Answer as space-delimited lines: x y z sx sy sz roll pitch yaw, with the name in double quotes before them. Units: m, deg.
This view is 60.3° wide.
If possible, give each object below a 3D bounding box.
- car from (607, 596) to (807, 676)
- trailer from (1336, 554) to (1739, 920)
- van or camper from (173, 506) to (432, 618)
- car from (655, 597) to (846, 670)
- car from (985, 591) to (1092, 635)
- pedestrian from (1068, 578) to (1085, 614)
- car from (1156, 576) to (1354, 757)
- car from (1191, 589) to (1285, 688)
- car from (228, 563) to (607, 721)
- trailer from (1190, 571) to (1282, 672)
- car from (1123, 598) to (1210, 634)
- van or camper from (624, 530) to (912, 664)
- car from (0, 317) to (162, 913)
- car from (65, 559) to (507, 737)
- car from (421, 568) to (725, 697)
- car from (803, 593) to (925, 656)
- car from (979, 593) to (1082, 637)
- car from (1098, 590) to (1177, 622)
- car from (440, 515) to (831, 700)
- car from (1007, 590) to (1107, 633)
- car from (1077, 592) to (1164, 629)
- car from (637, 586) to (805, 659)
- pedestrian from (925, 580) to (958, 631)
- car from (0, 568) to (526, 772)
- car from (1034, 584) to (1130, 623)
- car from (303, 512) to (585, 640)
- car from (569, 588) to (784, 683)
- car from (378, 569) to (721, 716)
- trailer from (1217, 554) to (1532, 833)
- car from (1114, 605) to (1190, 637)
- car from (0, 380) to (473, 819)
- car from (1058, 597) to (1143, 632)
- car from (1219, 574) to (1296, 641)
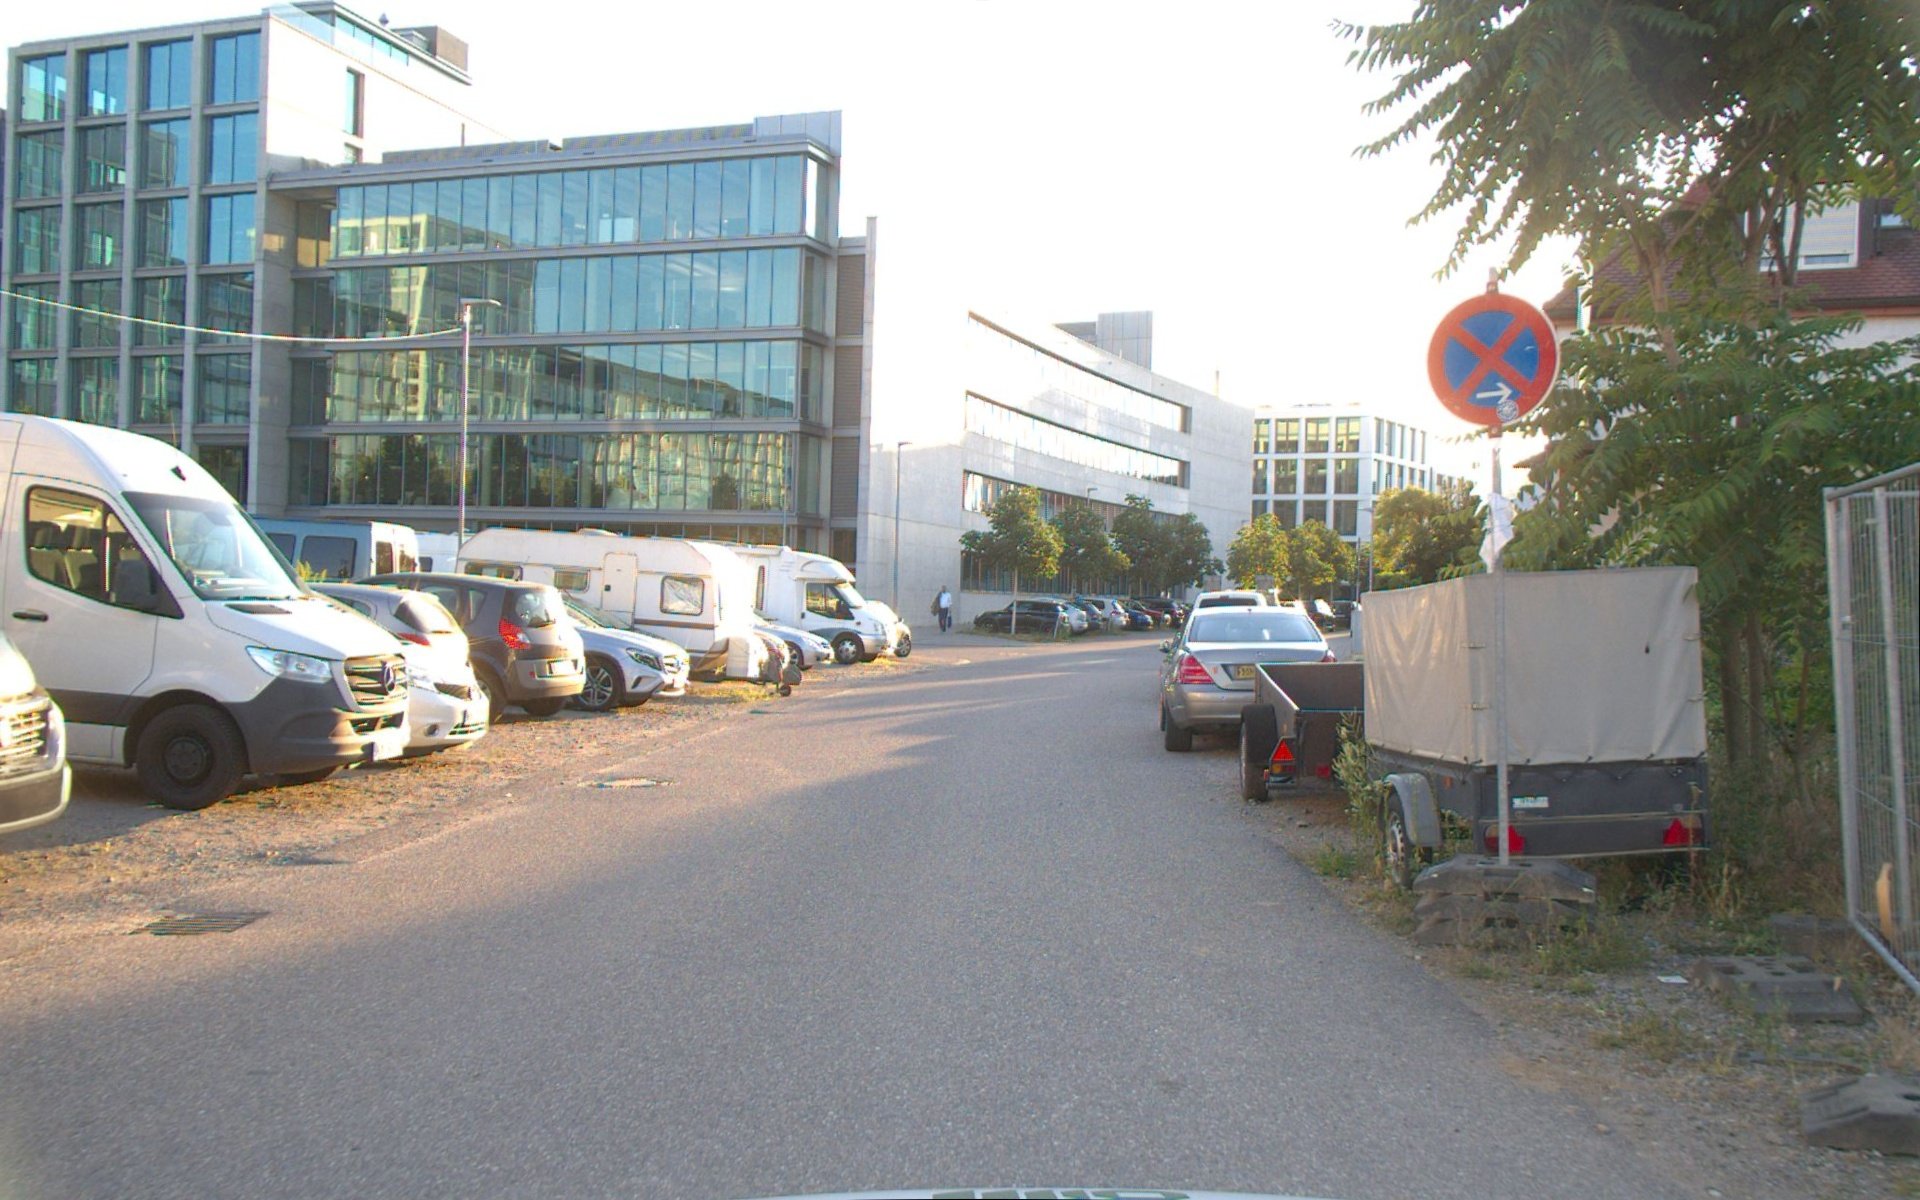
"car" -5.087 0.712 33.510 3.647 1.391 1.706 3 0 5
"trailer" 3.003 0.634 9.091 1.225 1.694 2.803 0 0 0
"van or camper" -12.754 -0.736 32.171 4.245 1.924 1.934 3 0 13
"car" -4.505 0.703 35.843 3.727 1.351 1.694 3 0 7
"car" 3.194 0.498 67.284 3.999 1.555 1.848 3 1 14
"pedestrian" 6.077 -0.213 86.438 0.632 1.815 0.725 3 0 20
"car" 3.150 0.645 18.506 1.768 1.755 4.931 0 0 5
"car" 5.711 0.718 33.633 1.733 1.863 4.412 1 0 11
"car" -6.352 0.458 19.524 3.842 1.618 1.749 2 0 12
"trailer" 6.646 0.463 39.889 2.020 2.250 5.227 1 0 9
"car" 11.067 0.865 88.586 4.222 1.726 1.896 2 0 23
"van or camper" -4.727 -0.093 41.190 6.597 2.948 2.411 2 0 9
"car" -7.575 -0.102 7.924 6.260 2.760 2.112 4 -1 -2
"car" -6.968 0.493 17.362 3.843 1.618 1.749 2 -1 4
"car" -5.808 0.479 25.064 4.039 1.618 1.749 4 0 7
"car" -2.534 0.656 44.759 1.652 1.545 4.362 3 0 19
"car" 2.756 0.576 64.428 3.655 1.507 1.771 3 1 14
"car" 9.048 0.303 84.208 3.626 1.483 1.711 2 0 21
"car" -5.294 0.085 27.388 5.763 2.577 2.414 3 1 10
"car" 4.071 0.476 69.384 3.913 1.538 1.586 3 2 14
"car" 7.710 0.489 79.327 3.791 1.537 1.760 3 1 21
"car" -5.560 0.506 38.716 3.529 1.502 1.694 3 0 4
"pedestrian" -0.691 0.204 61.876 0.893 1.882 0.844 0 1 -39
"car" -6.056 0.577 14.649 3.843 1.533 1.791 2 0 4
"car" 5.438 0.162 73.792 3.905 1.537 1.760 3 1 20
"car" -12.413 -0.588 39.885 6.110 2.719 2.225 3 0 14
"car" -5.234 0.636 30.777 3.552 1.545 1.706 3 0 5
"car" -5.471 0.538 22.232 4.039 1.618 1.749 4 1 12
"trailer" 3.075 0.604 13.238 1.694 1.808 4.940 0 0 5
"car" 10.049 1.094 86.622 3.627 1.483 1.678 2 0 23
"car" -6.787 -0.118 12.052 5.706 2.760 2.051 4 0 2
"car" 6.438 0.650 75.579 3.556 1.385 1.687 3 1 16
"car" 10.048 0.224 55.605 2.022 2.131 4.875 1 0 17
